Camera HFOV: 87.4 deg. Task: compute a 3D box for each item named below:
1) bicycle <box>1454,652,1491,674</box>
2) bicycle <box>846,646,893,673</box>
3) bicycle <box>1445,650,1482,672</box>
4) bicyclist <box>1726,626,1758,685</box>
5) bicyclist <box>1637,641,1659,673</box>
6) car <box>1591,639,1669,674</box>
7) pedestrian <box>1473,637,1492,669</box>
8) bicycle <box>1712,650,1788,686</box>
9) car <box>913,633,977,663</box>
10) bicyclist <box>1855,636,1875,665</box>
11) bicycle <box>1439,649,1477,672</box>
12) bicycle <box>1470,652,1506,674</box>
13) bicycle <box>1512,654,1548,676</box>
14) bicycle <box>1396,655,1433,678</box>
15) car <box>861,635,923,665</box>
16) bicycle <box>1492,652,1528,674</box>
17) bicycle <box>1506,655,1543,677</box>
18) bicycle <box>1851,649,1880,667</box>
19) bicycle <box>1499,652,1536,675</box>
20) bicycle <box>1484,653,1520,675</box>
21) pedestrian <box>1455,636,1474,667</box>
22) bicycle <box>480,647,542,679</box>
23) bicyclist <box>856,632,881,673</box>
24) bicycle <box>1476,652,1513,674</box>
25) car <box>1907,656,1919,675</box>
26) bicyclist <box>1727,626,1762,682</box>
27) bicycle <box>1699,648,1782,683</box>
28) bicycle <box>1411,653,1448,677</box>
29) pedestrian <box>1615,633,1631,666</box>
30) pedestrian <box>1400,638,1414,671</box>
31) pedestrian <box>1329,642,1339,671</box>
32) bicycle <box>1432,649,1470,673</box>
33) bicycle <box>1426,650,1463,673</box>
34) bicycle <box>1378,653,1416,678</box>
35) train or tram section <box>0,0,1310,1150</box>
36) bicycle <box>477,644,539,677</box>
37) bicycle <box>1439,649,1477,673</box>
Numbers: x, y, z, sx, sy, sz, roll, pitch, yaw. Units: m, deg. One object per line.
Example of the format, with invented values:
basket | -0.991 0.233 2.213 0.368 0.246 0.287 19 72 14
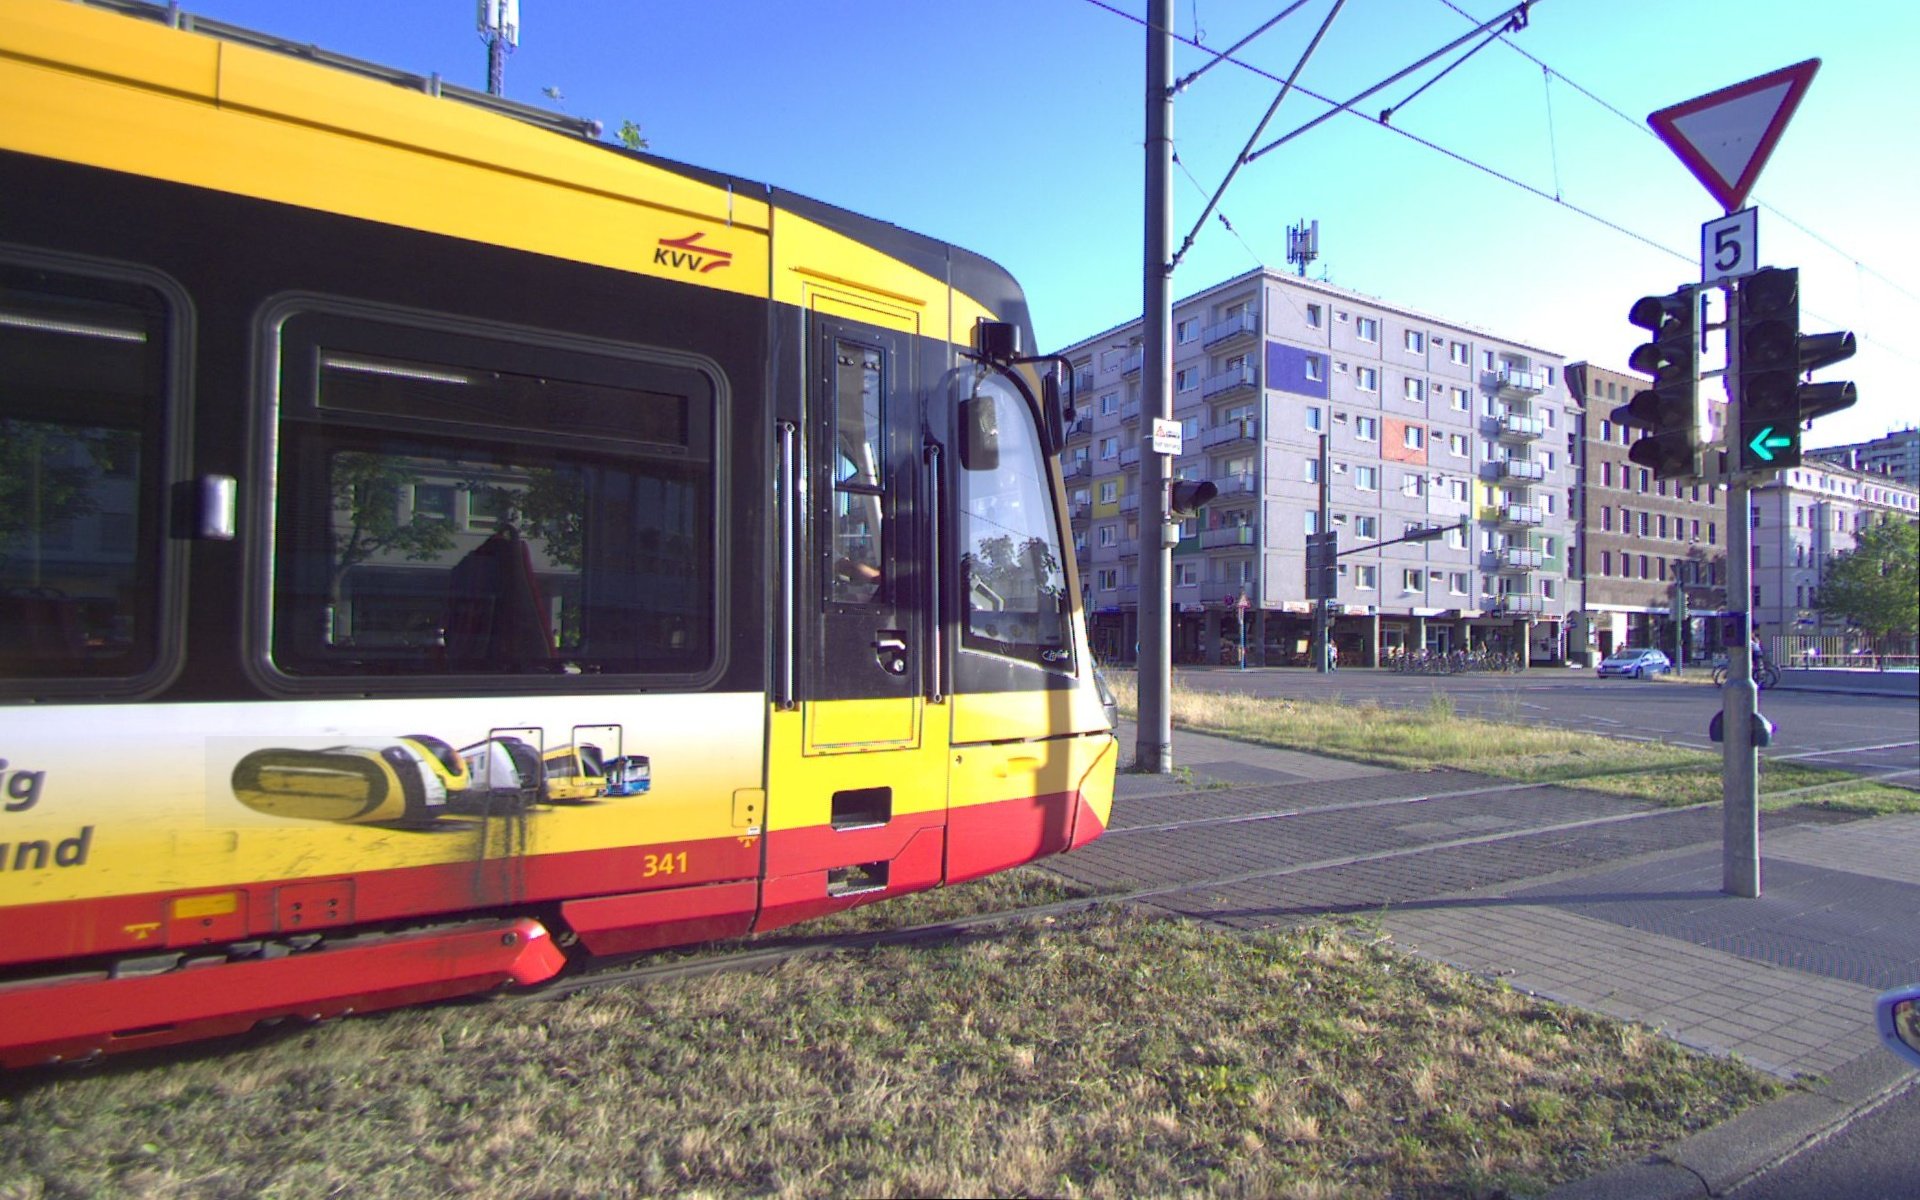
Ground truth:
bicycle | 27.983 3.429 54.891 0.598 1.151 1.763 2 -2 -29
bicycle | -3.290 2.171 36.483 1.638 0.957 0.508 1 -2 -10
bicycle | 27.378 3.311 54.609 0.598 1.174 1.768 2 -2 -29
bicyclist | 24.921 1.758 31.993 0.783 1.842 0.643 0 -2 40
bicyclist | 39.019 3.210 56.938 0.779 1.765 0.701 2 -2 -19
car | 32.627 2.723 48.893 3.956 1.639 1.680 2 -3 -32
pedestrian | 31.308 3.161 60.201 0.728 1.865 0.780 2 -2 -38
bicycle | 25.054 2.144 31.875 1.879 1.089 0.629 -1 -2 42
car | -0.850 2.543 53.871 1.974 1.505 3.974 1 -2 -26
bicyclist | 64.728 3.627 71.871 0.912 2.040 0.794 2 -2 -28
bicycle | 26.864 3.277 54.207 0.632 1.176 1.822 2 -2 -29
bicycle | 28.732 3.446 54.687 0.545 1.132 1.747 2 -2 -29
bicycle | 32.252 3.688 56.848 0.688 1.159 1.684 2 -2 -28
bicycle | 23.899 3.487 52.886 0.601 1.157 1.768 2 -2 -29
car | -3.731 2.673 54.373 1.974 1.505 3.974 2 -2 -26
bicycle | 30.414 3.478 55.556 0.697 1.168 1.684 2 -2 -28
bicycle | 31.678 3.705 56.382 0.739 1.185 1.684 2 -2 -28
bicycle | 64.823 4.144 71.899 2.382 1.217 0.809 2 -2 -28
bicycle | 31.054 3.542 55.930 0.739 1.194 1.684 2 -2 -28
bicycle | 29.805 3.507 55.256 0.626 1.139 1.720 3 -2 -28
pedestrian | 30.681 3.149 61.102 0.715 1.836 0.820 2 -1 -40
bicycle | -16.030 2.245 35.908 1.973 1.089 0.465 2 -2 -31
bicyclist | -3.320 1.905 36.487 0.842 1.445 0.500 1 -1 -11
bicycle | 29.241 3.462 54.962 0.561 1.134 1.753 2 -2 -29
car | 74.429 4.990 76.715 3.948 1.439 1.813 2 -2 -27
bicyclist | 26.232 1.788 33.587 0.867 1.842 0.535 -1 -2 44
bicycle | 26.135 2.183 33.660 2.141 1.098 0.536 0 -2 44
bicycle | 24.683 3.413 52.833 0.592 1.154 1.749 2 -2 -29
pedestrian | 45.215 3.355 68.500 0.783 2.206 0.599 2 -2 -30
pedestrian | 23.993 2.924 53.916 0.572 1.706 0.544 -1 -2 39
pedestrian | 18.787 2.839 50.470 0.376 1.401 0.394 0 -2 32
bicycle | 25.910 3.214 53.014 0.561 1.197 1.761 2 -2 -30
bicycle | 25.406 3.223 52.710 0.534 1.183 1.758 2 -2 -29
bicycle | 22.906 3.405 52.640 0.631 1.224 1.786 2 -2 -30
train or tram section | -4.428 -0.445 3.260 13.068 3.788 2.894 2 -2 -31
bicycle | -15.472 2.069 34.409 1.885 1.089 0.465 2 -2 -31
bicycle | 26.447 3.212 53.372 0.644 1.206 1.780 2 -2 -30
